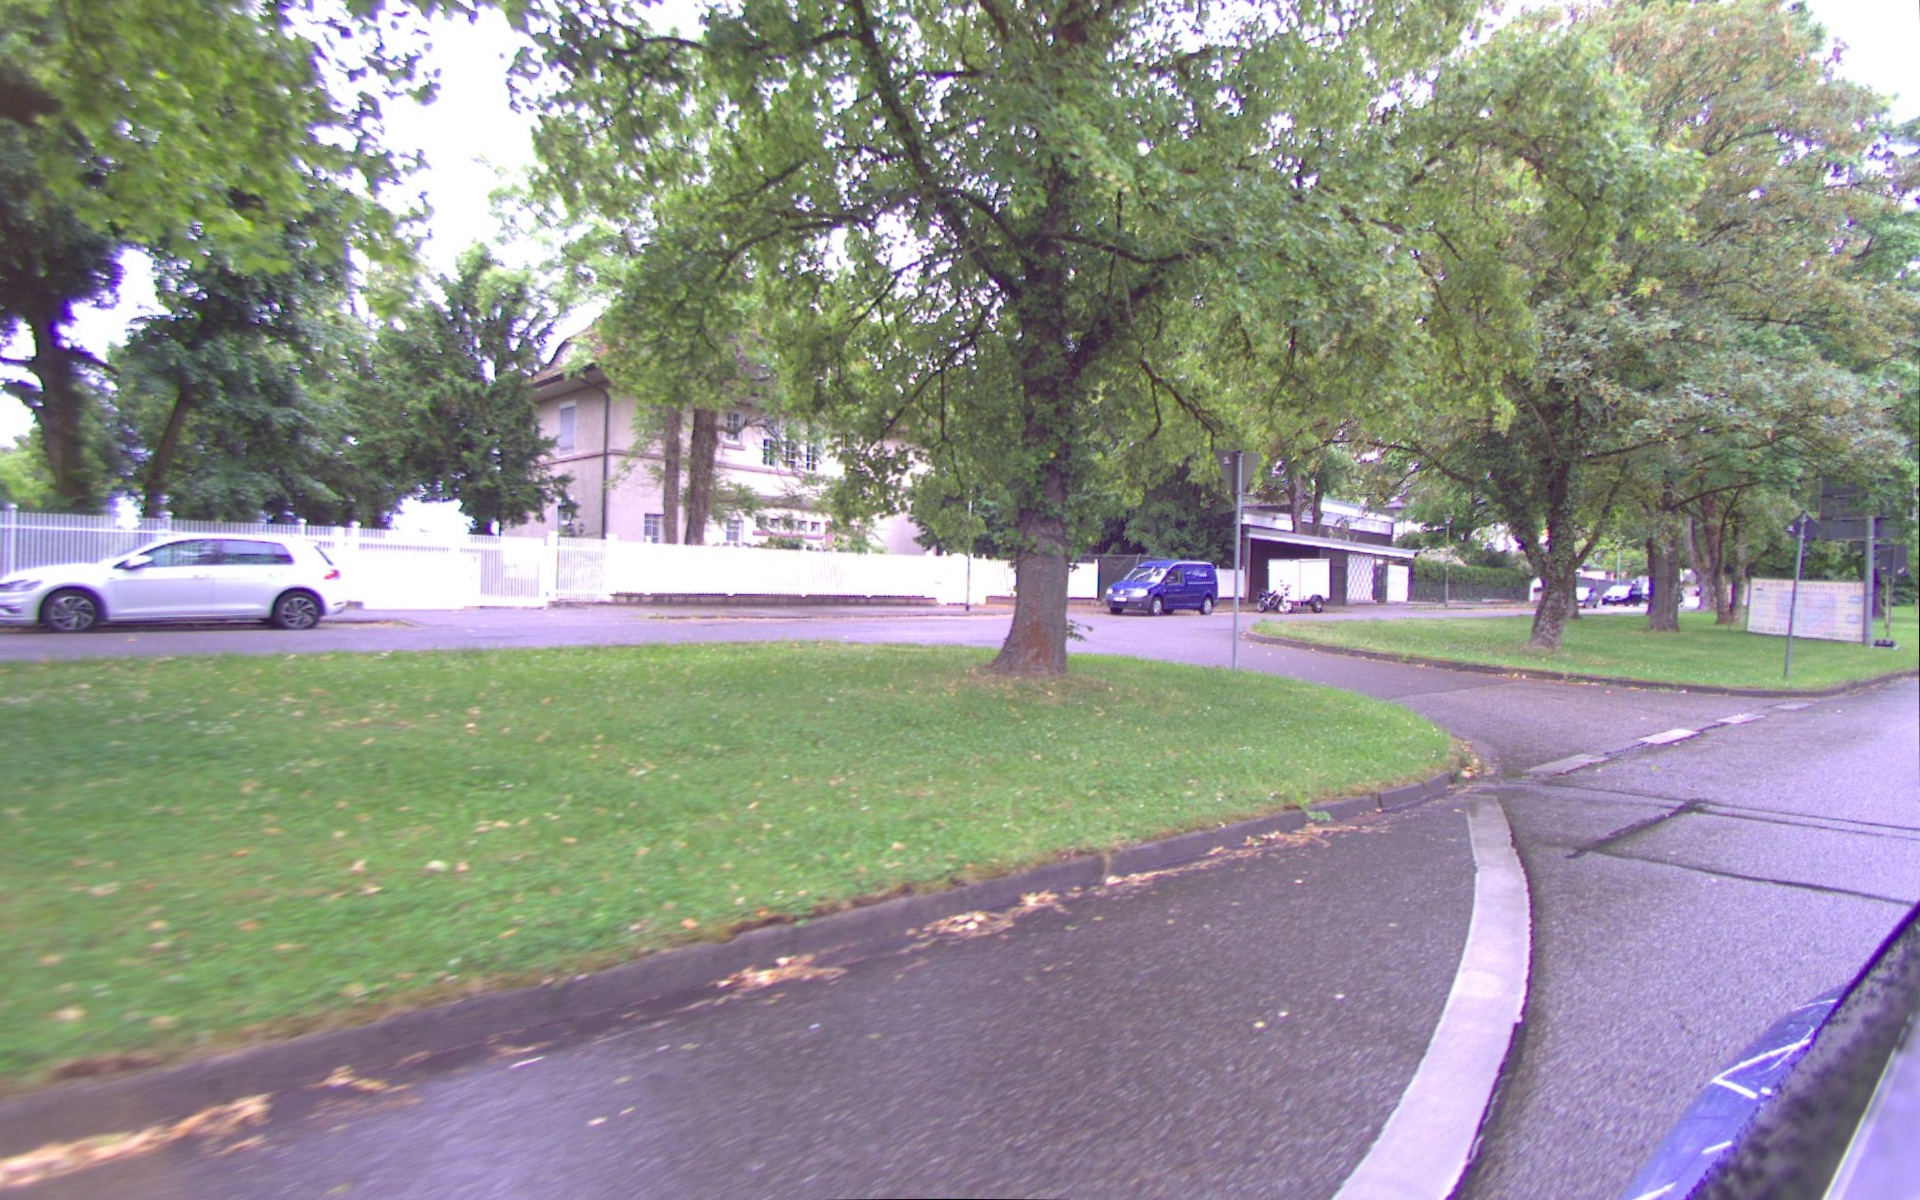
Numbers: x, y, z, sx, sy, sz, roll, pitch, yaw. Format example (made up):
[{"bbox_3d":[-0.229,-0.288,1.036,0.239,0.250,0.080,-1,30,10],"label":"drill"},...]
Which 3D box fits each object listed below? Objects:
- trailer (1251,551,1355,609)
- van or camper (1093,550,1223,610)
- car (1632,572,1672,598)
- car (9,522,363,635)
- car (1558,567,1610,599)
[{"bbox_3d":[13.572,-0.750,39.870,5.107,2.143,1.768,-1,0,-44],"label":"trailer"},{"bbox_3d":[6.587,-0.619,33.294,1.993,1.831,4.700,0,0,44],"label":"van or camper"},{"bbox_3d":[58.948,-1.278,86.211,3.932,2.039,1.996,3,0,-43],"label":"car"},{"bbox_3d":[-11.592,-0.292,15.320,4.058,1.467,1.994,-1,0,-45],"label":"car"},{"bbox_3d":[42.673,-1.160,69.183,3.931,2.038,1.997,0,2,-42],"label":"car"}]
